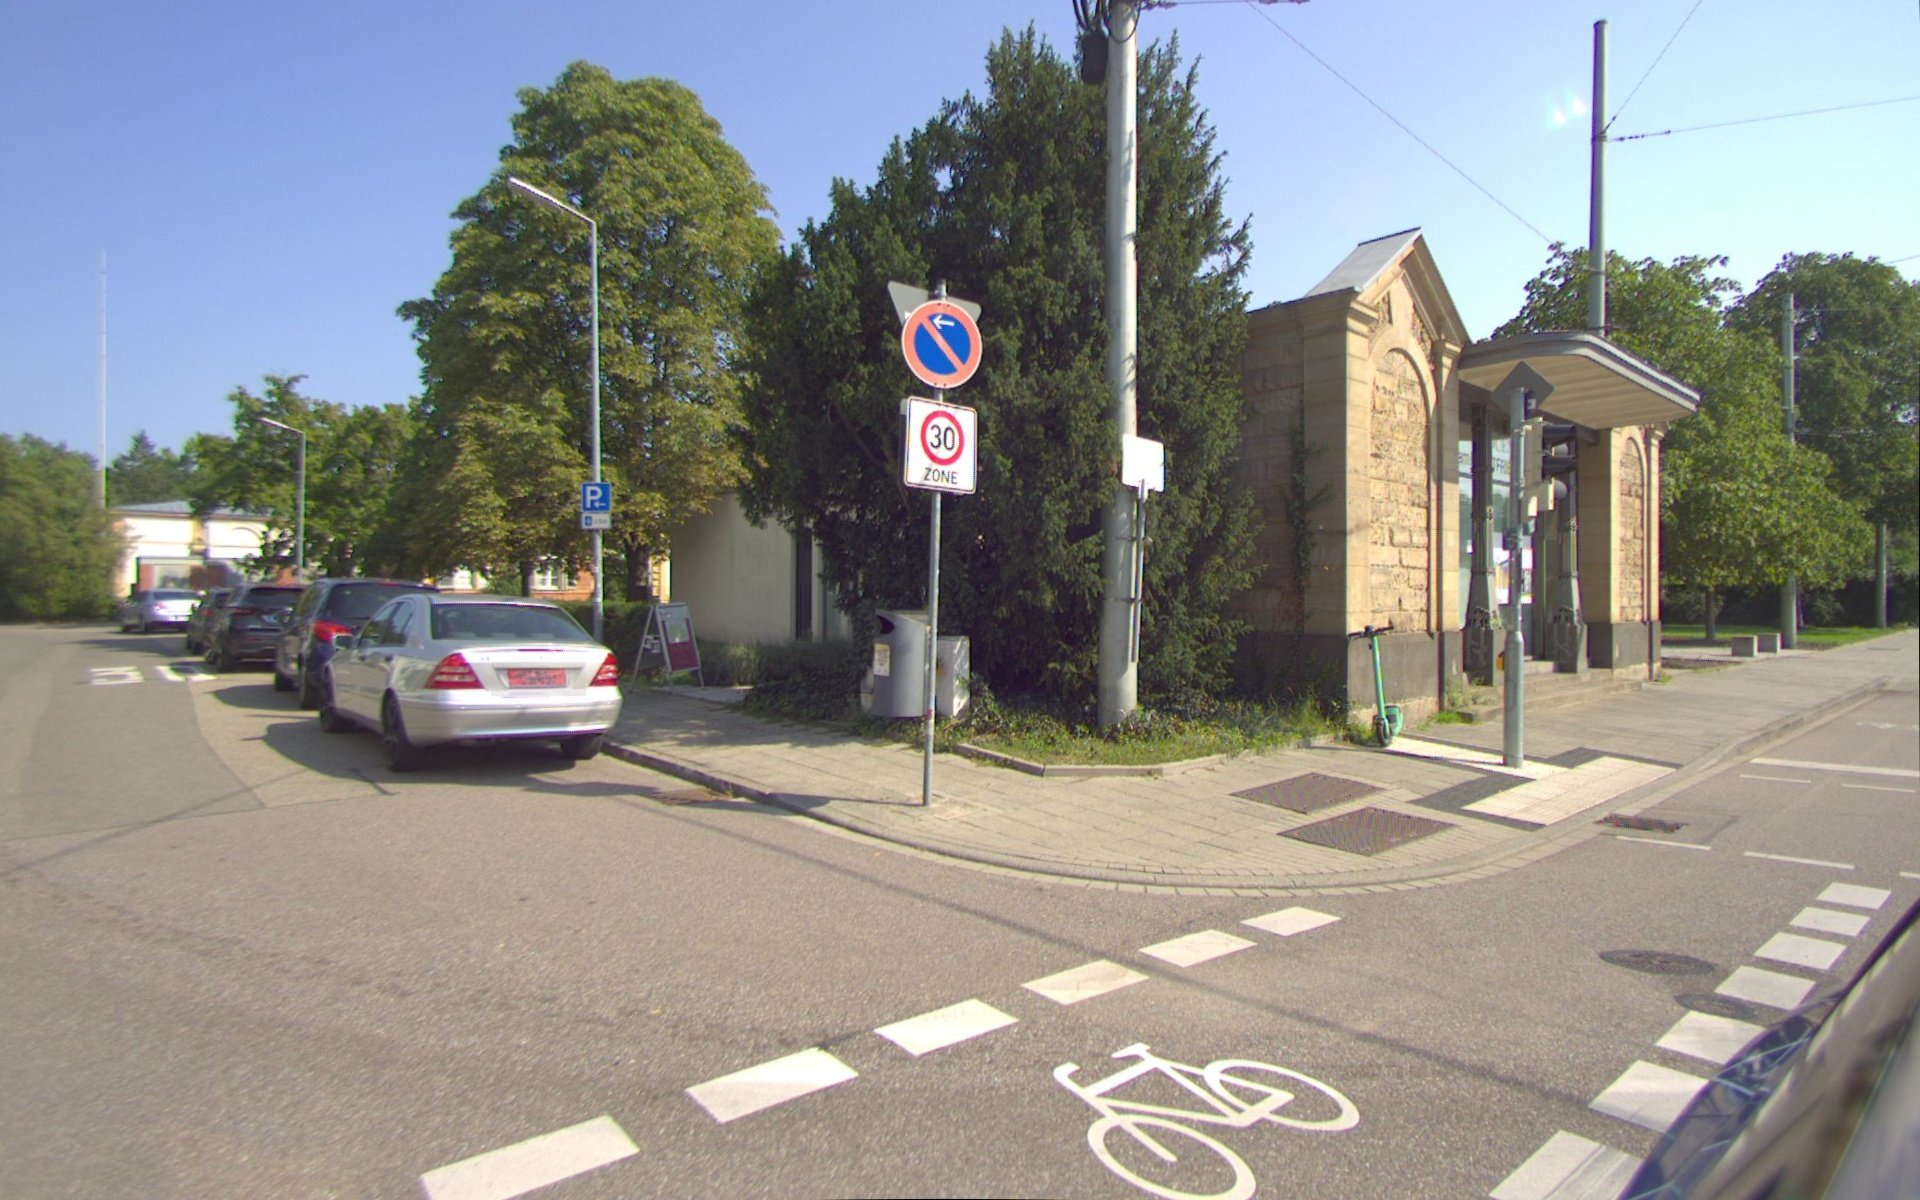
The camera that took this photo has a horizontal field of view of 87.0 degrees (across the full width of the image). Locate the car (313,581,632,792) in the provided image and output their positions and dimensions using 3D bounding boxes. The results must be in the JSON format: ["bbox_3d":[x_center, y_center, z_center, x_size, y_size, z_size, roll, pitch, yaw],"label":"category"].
[{"bbox_3d":[-4.682,0.587,9.372,1.633,1.428,4.186,0,2,-41],"label":"car"}]

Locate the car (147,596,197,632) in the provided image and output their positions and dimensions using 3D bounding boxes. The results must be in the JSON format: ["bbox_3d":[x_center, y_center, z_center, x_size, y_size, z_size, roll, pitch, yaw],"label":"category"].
[{"bbox_3d":[-25.547,0.444,32.867,1.138,1.081,2.808,1,0,-35],"label":"car"}]

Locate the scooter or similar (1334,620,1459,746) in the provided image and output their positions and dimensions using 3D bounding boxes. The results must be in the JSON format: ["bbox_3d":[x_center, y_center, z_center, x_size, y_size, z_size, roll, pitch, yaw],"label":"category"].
[{"bbox_3d":[4.380,0.799,10.103,1.484,1.148,0.524,3,0,-41],"label":"scooter or similar"}]

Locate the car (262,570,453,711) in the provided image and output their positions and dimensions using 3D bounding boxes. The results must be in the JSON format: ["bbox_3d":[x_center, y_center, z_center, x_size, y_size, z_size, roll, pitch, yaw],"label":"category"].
[{"bbox_3d":[-8.214,0.422,13.640,1.571,1.587,3.824,0,2,-41],"label":"car"}]

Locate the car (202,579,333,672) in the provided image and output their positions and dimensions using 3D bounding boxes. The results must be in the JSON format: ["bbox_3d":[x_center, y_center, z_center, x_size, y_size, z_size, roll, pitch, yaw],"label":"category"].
[{"bbox_3d":[-12.630,0.391,18.376,1.571,1.514,3.584,0,0,-41],"label":"car"}]
